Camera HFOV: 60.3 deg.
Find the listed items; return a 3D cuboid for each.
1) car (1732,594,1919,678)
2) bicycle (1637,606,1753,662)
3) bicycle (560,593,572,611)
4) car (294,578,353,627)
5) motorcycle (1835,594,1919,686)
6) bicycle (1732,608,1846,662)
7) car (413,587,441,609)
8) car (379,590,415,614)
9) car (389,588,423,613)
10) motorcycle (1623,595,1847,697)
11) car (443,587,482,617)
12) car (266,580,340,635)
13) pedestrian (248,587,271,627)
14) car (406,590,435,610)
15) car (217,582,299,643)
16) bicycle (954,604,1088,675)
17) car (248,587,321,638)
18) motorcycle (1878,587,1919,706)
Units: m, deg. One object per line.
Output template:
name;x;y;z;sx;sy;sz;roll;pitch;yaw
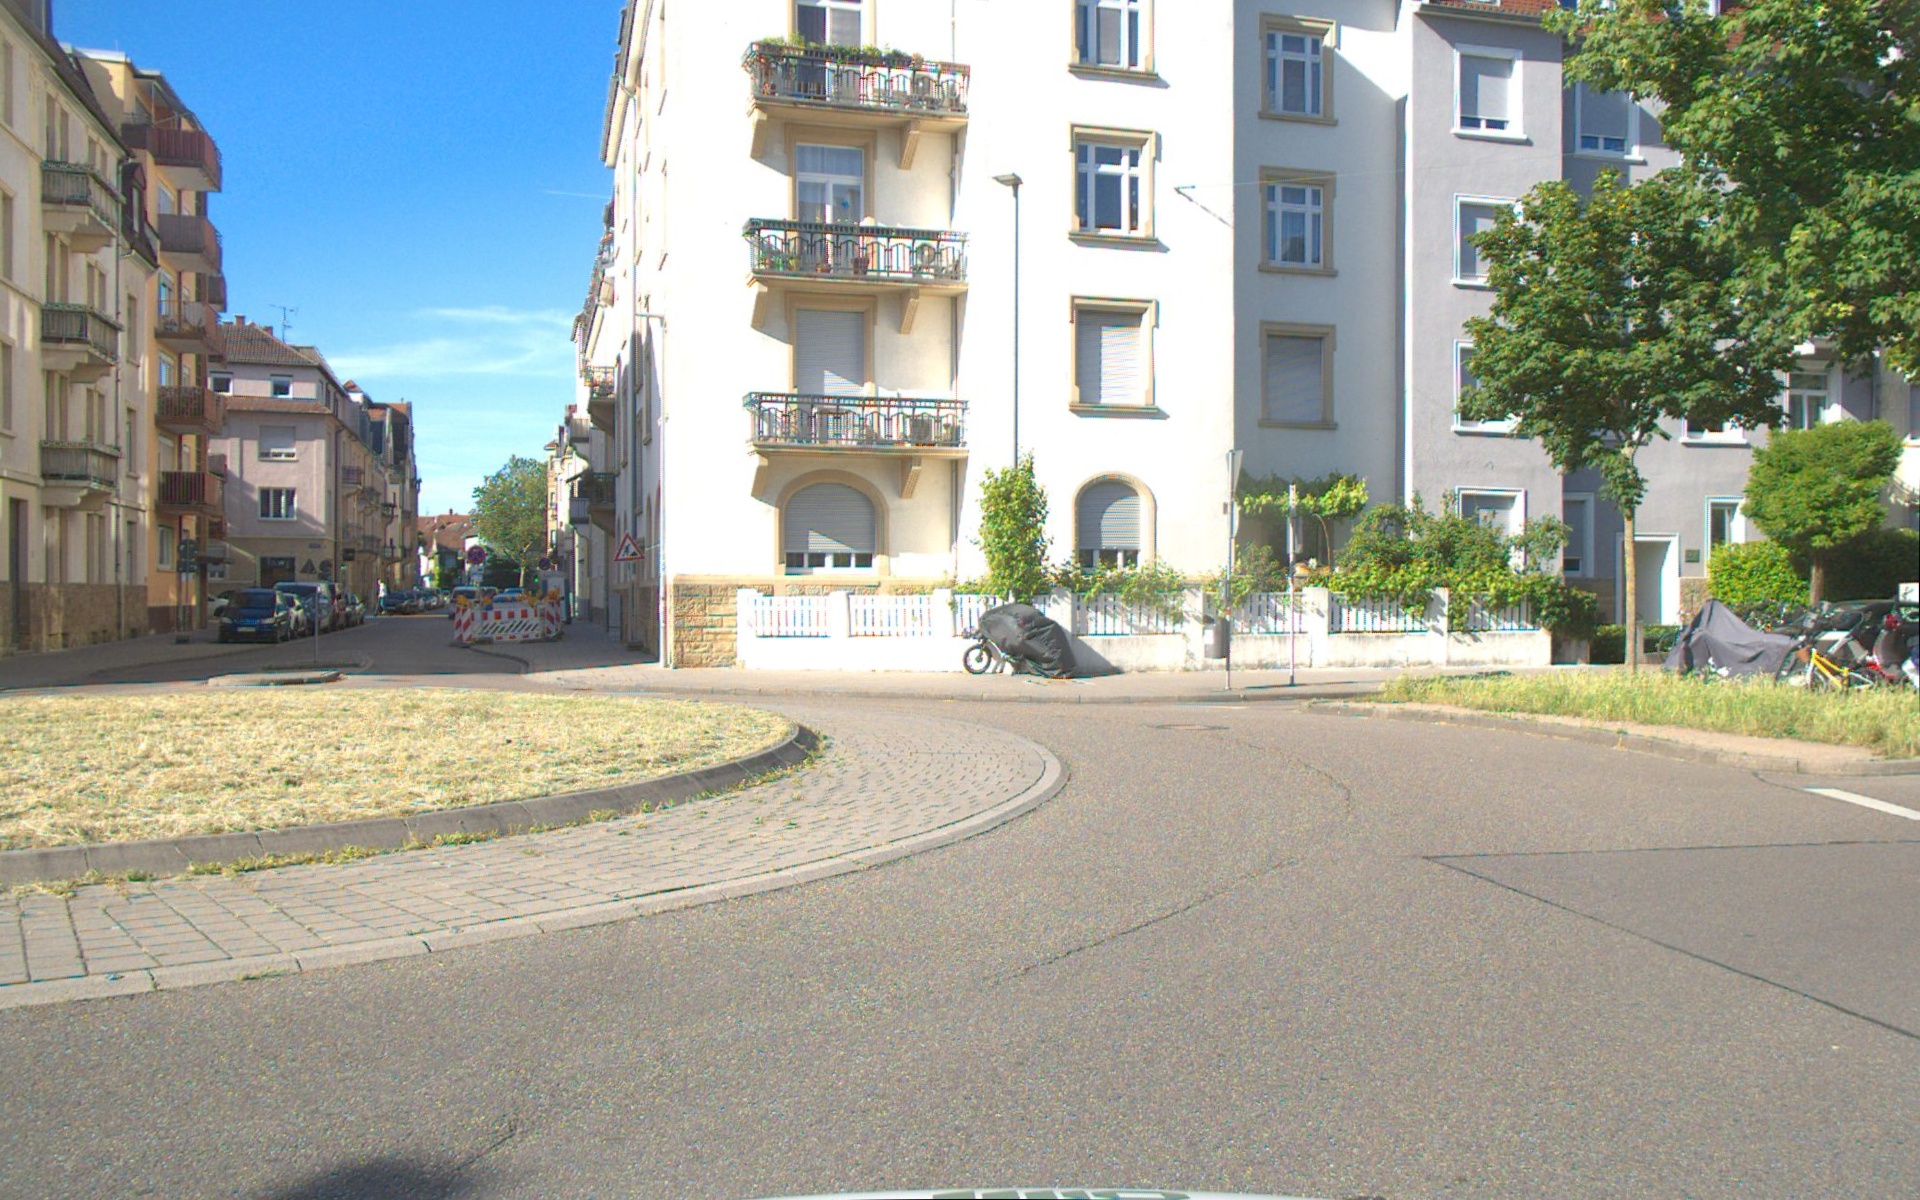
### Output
car;16.343;0.645;30.320;3.884;1.470;1.743;0;-1;-20
bicycle;14.867;0.675;33.459;2.212;1.078;0.680;0;0;-15
bicycle;-27.749;0.141;116.370;0.749;1.268;2.581;0;0;-15
car;-26.113;0.092;68.015;1.733;1.959;4.914;1;0;-15
motorcycle;13.507;0.550;23.466;0.872;1.258;1.885;0;0;-17
bicycle;17.167;0.711;34.250;2.212;1.078;0.680;0;0;-15
car;-43.549;-0.137;135.155;1.971;1.647;4.468;2;-1;-16
car;-35.611;0.139;104.668;1.651;1.451;4.259;2;-1;-13
car;-38.458;0.051;114.837;1.971;1.610;4.468;2;-1;-16
motorcycle;10.448;0.583;22.450;1.107;1.290;2.765;0;0;-22
car;-26.811;0.130;89.240;1.808;1.456;4.013;-1;-1;-14
car;-24.445;0.254;61.695;1.943;1.959;5.287;1;0;-15
pedestrian;-33.063;0.336;78.074;0.909;1.849;0.989;1;0;-19
car;-42.523;0.015;130.527;1.946;1.508;4.309;2;-1;-16
car;-21.706;0.355;51.299;1.733;1.802;4.276;1;0;-15
bicycle;1.068;0.683;29.136;2.234;1.178;0.766;1;0;27
car;-23.022;0.410;56.494;1.733;1.649;4.277;1;0;-15
motorcycle;11.472;0.529;18.521;0.847;1.351;2.042;0;0;-20
